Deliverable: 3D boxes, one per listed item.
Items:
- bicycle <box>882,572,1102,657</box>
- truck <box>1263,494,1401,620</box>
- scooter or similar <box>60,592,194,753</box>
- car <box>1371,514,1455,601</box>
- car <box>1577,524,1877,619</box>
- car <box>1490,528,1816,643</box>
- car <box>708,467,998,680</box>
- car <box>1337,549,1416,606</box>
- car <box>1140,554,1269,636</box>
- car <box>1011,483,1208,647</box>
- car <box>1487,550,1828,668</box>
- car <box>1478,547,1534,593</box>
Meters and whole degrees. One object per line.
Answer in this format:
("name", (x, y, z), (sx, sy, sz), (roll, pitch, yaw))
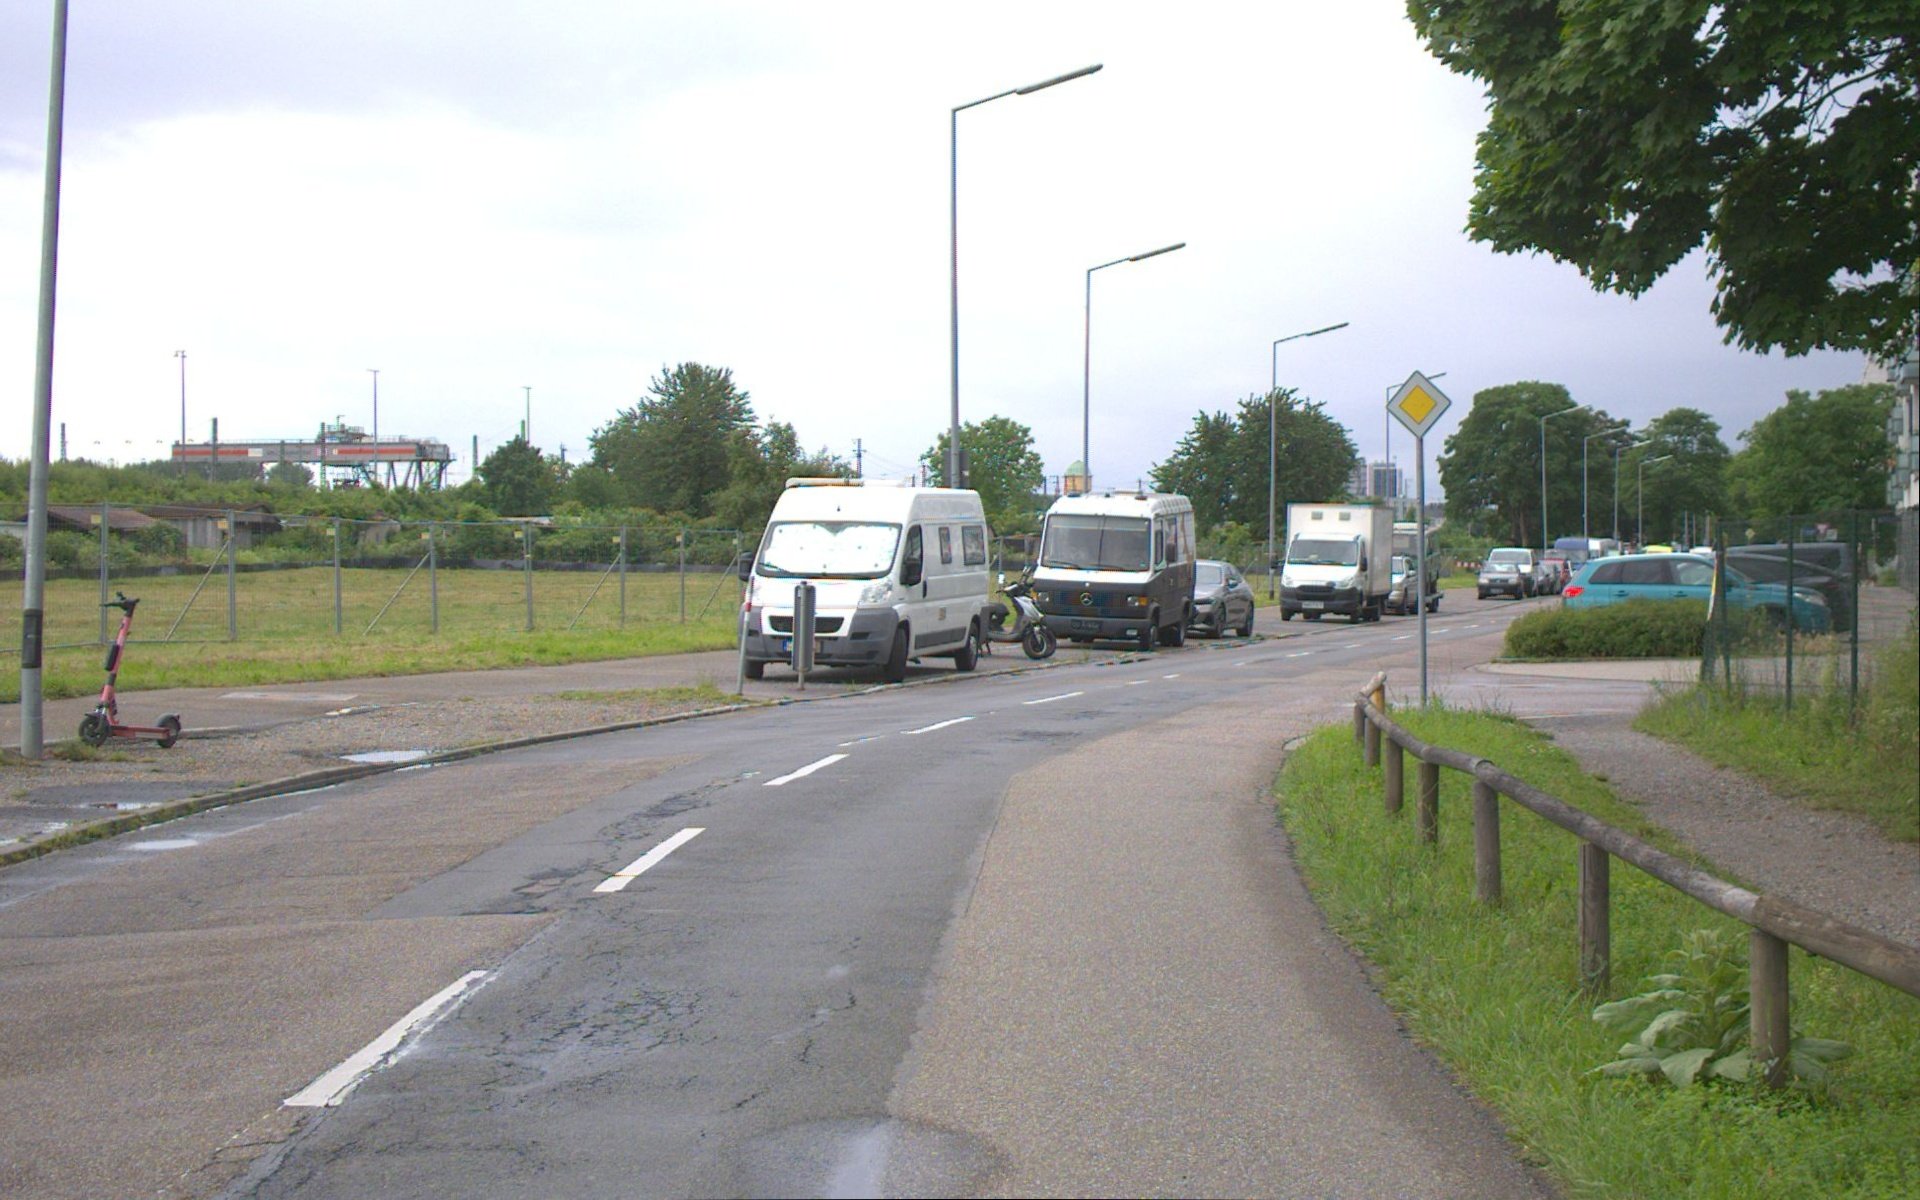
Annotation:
("bicycle", (0.493, 0.204, 52.467), (3.122, 1.195, 1.364), (1, 2, 14))
("truck", (9.557, -1.154, 87.647), (2.463, 3.050, 8.157), (1, 2, 14))
("scooter or similar", (-6.574, 0.556, 27.189), (0.608, 1.178, 1.702), (2, 1, 0))
("car", (13.814, -1.332, 104.742), (2.006, 2.565, 4.783), (1, 2, 14))
("car", (12.991, -0.507, 58.262), (4.864, 1.495, 1.841), (1, 2, 14))
("car", (10.791, -0.249, 53.491), (4.864, 1.657, 1.841), (1, 2, 14))
("car", (-1.270, -0.408, 44.589), (2.290, 2.547, 6.407), (0, 2, 12))
("car", (11.801, -0.647, 97.259), (1.756, 1.520, 3.998), (1, 2, 14))
("car", (4.824, -0.122, 67.302), (1.781, 1.499, 3.997), (1, 2, 15))
("car", (2.729, -0.684, 60.963), (2.302, 2.725, 6.088), (1, 2, 14))
("car", (10.367, 0.106, 51.071), (4.864, 1.610, 1.841), (1, 2, 14))
("car", (20.828, -1.154, 131.110), (1.650, 1.657, 3.573), (1, 2, 16))
